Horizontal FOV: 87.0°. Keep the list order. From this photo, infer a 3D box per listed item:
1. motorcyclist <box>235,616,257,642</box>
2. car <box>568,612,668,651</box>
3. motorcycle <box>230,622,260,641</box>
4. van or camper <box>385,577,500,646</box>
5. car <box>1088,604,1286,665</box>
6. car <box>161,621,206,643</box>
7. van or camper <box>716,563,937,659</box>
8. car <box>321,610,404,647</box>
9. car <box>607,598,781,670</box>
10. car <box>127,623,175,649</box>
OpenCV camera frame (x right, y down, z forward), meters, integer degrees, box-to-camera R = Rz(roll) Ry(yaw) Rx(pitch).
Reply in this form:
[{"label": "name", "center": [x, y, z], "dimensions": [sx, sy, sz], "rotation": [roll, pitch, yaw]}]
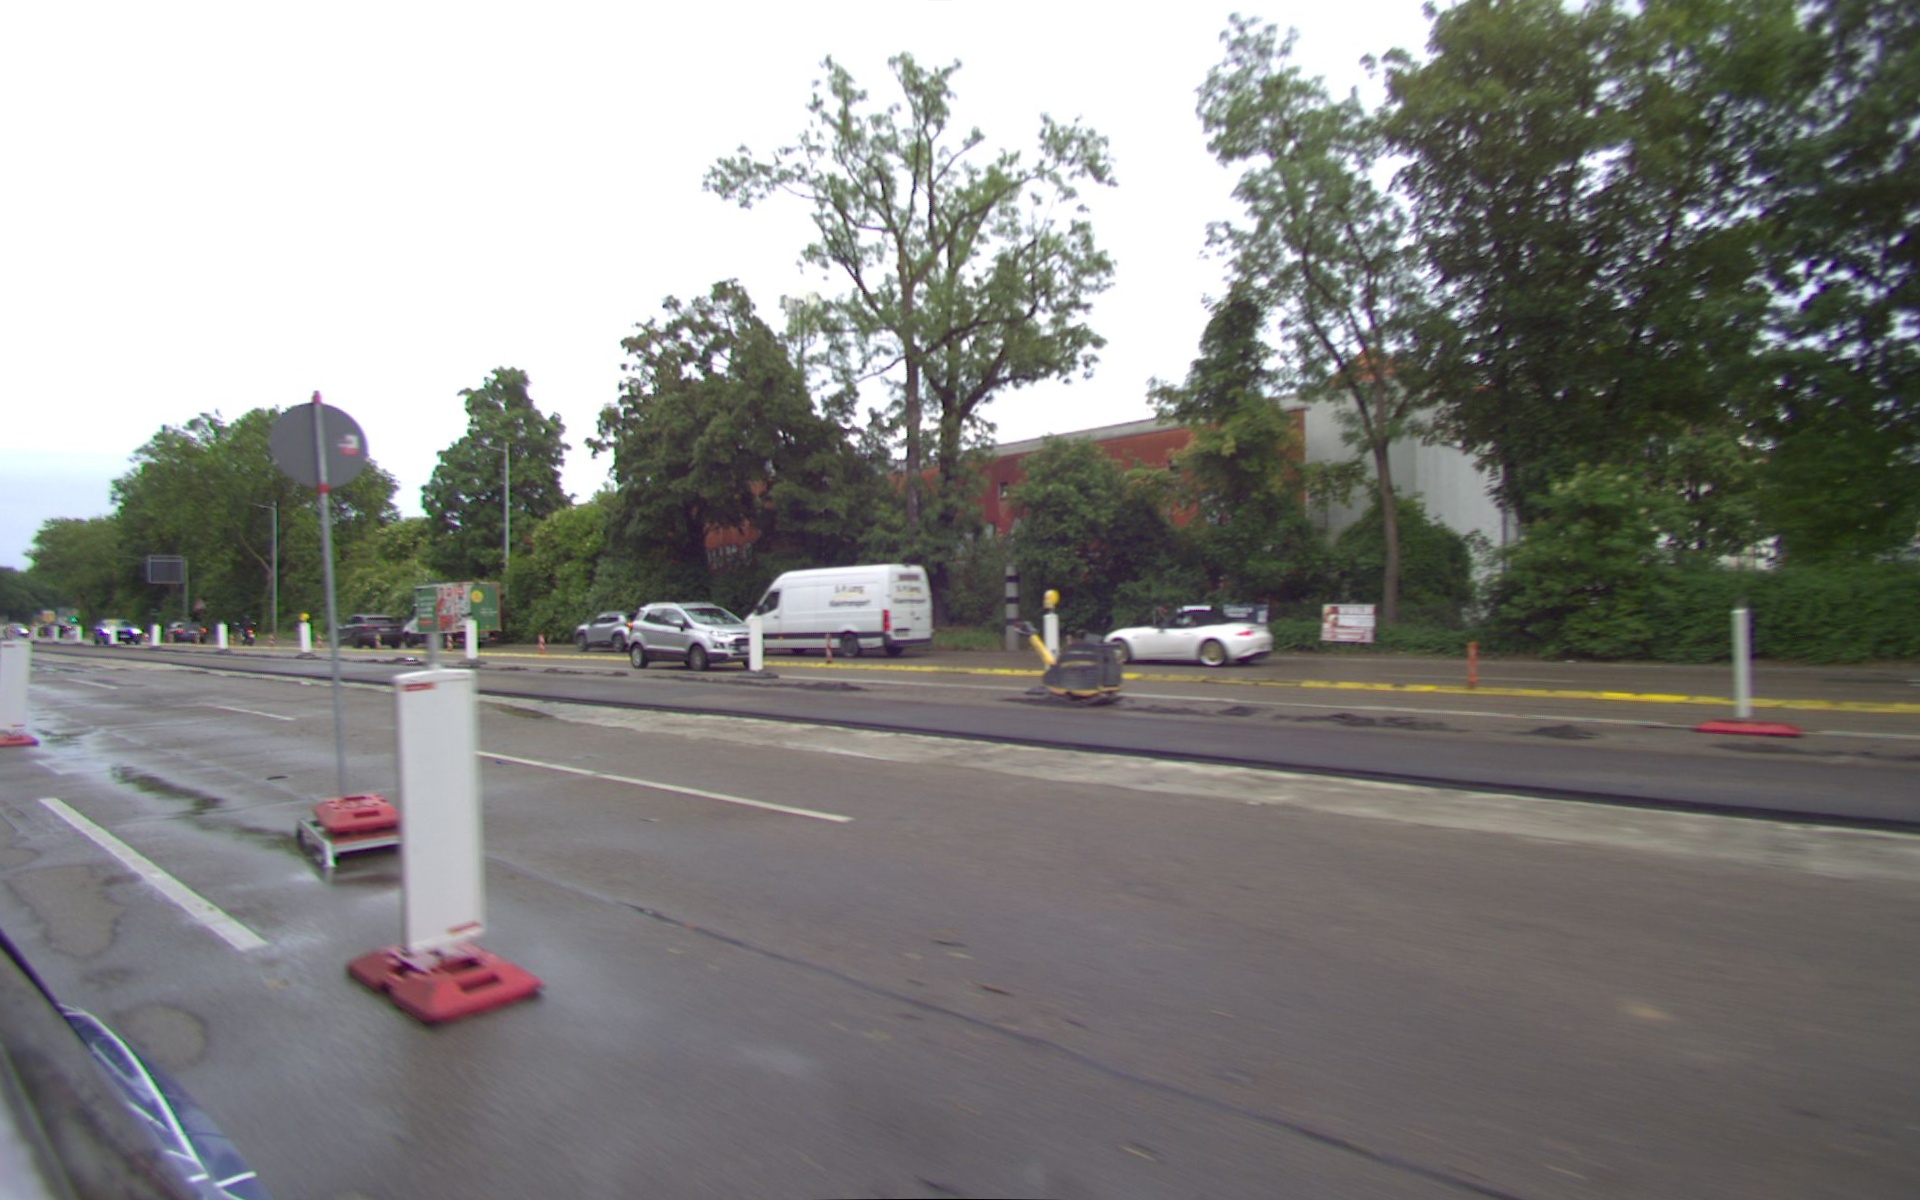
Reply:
[{"label": "motorcyclist", "center": [-41.030, 1.676, 58.134], "dimensions": [0.975, 1.421, 0.805], "rotation": [-2, 0, 41]}, {"label": "car", "center": [-12.680, 1.141, 37.431], "dimensions": [4.078, 1.375, 1.698], "rotation": [-1, -2, 40]}, {"label": "motorcycle", "center": [-41.244, 1.821, 58.341], "dimensions": [2.592, 0.996, 0.800], "rotation": [-2, 0, 41]}, {"label": "van or camper", "center": [-24.997, 0.605, 48.743], "dimensions": [7.447, 3.086, 2.274], "rotation": [-2, -1, 41]}, {"label": "car", "center": [5.009, 0.761, 22.594], "dimensions": [3.996, 1.192, 1.672], "rotation": [-2, 0, 39]}, {"label": "car", "center": [-53.062, 2.183, 69.139], "dimensions": [4.105, 1.453, 1.670], "rotation": [-2, -1, 41]}, {"label": "van or camper", "center": [-4.225, 0.357, 30.483], "dimensions": [7.726, 2.574, 1.973], "rotation": [-2, 0, 42]}, {"label": "car", "center": [-28.428, 1.356, 48.080], "dimensions": [4.804, 1.706, 1.973], "rotation": [-2, -2, 41]}, {"label": "car", "center": [-6.572, 0.812, 24.785], "dimensions": [4.359, 1.576, 1.870], "rotation": [-2, 0, 39]}, {"label": "car", "center": [-55.878, 2.478, 69.865], "dimensions": [4.813, 1.641, 1.971], "rotation": [-2, -1, 44]}]
